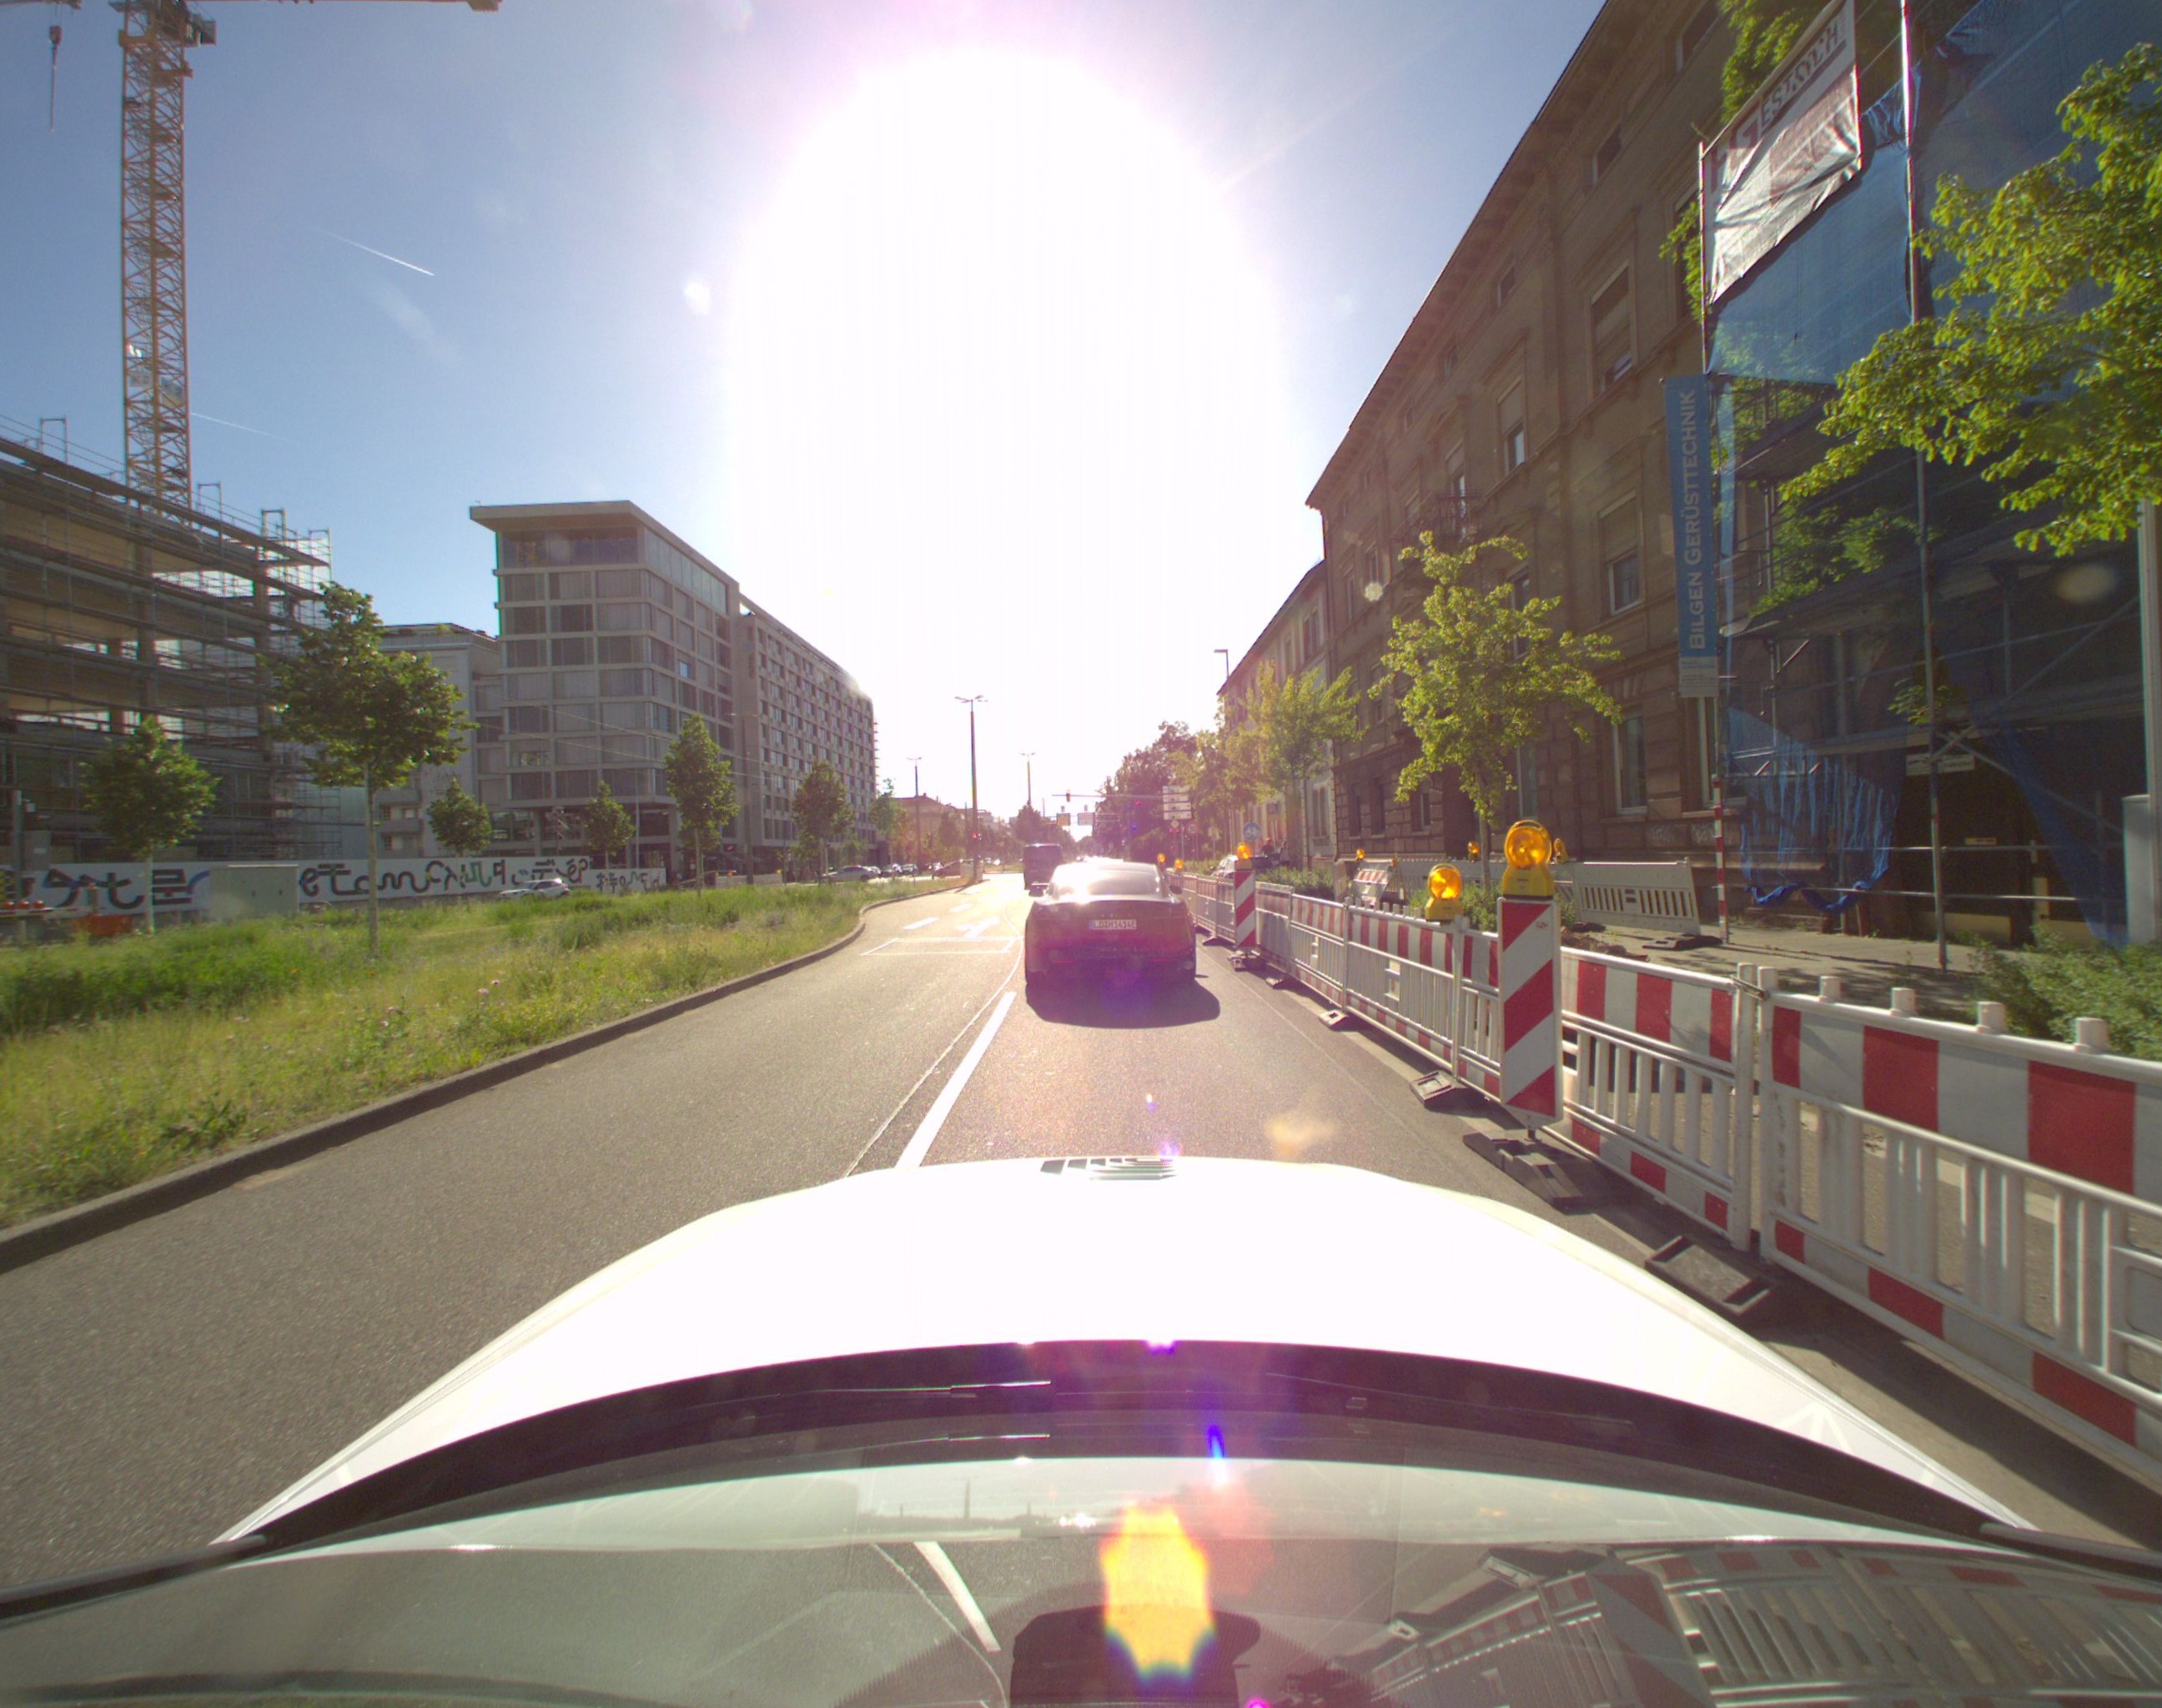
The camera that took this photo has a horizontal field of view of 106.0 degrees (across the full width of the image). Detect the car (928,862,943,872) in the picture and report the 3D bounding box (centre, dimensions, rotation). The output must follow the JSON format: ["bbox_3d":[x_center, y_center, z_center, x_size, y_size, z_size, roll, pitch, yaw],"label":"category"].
[{"bbox_3d":[-24.432,2.200,136.909,1.784,1.651,4.001,-2,0,1],"label":"car"}]

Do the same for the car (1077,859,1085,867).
[{"bbox_3d":[0.051,2.105,196.881,1.786,1.873,3.848,-1,-1,-1],"label":"car"}]

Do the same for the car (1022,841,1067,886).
[{"bbox_3d":[-1.907,0.489,43.711,2.211,2.267,4.483,0,0,0],"label":"car"}]

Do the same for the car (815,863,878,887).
[{"bbox_3d":[-19.176,1.719,66.615,4.543,1.792,1.980,-2,0,-32],"label":"car"}]

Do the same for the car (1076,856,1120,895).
[{"bbox_3d":[0.735,0.849,34.405,1.743,1.527,4.006,-1,0,2],"label":"car"}]

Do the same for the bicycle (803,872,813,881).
[{"bbox_3d":[-32.119,2.661,95.843,0.584,1.100,1.625,0,-1,5],"label":"bicycle"}]

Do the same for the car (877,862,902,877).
[{"bbox_3d":[-22.477,1.788,95.641,1.784,1.651,4.001,-2,0,1],"label":"car"}]

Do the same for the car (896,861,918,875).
[{"bbox_3d":[-22.120,1.779,103.810,1.784,1.651,4.001,-2,0,1],"label":"car"}]

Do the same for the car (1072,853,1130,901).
[{"bbox_3d":[0.638,0.698,27.231,1.742,1.427,4.838,-1,0,1],"label":"car"}]

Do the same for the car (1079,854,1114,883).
[{"bbox_3d":[0.775,0.764,43.447,1.786,1.428,3.848,-1,-1,-1],"label":"car"}]

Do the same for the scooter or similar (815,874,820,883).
[{"bbox_3d":[-29.186,2.672,90.132,0.285,0.947,0.765,-2,-1,-6],"label":"scooter or similar"}]

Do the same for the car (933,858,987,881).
[{"bbox_3d":[-10.380,1.331,69.811,4.512,1.792,1.993,-2,0,-10],"label":"car"}]

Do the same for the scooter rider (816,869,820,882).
[{"bbox_3d":[-29.169,2.350,90.259,0.341,1.453,0.239,-2,-1,1],"label":"scooter rider"}]

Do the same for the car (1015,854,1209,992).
[{"bbox_3d":[0.357,0.730,10.870,2.044,1.444,4.524,0,0,1],"label":"car"}]

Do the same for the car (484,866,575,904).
[{"bbox_3d":[-31.321,1.720,46.376,1.895,1.918,4.001,-2,0,14],"label":"car"}]

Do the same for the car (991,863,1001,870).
[{"bbox_3d":[-20.640,3.038,198.300,1.784,1.651,4.001,-2,0,1],"label":"car"}]

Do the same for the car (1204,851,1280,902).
[{"bbox_3d":[5.397,0.722,27.911,1.642,1.475,4.701,-4,0,1],"label":"car"}]

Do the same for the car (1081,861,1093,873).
[{"bbox_3d":[0.976,2.048,130.810,1.786,1.873,3.848,-1,-1,-1],"label":"car"}]

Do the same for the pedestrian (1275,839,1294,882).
[{"bbox_3d":[8.814,0.293,35.284,0.561,1.821,0.587,-5,0,0],"label":"pedestrian"}]

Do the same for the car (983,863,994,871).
[{"bbox_3d":[-20.130,2.836,177.281,1.801,1.651,4.001,-2,0,1],"label":"car"}]

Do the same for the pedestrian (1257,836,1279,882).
[{"bbox_3d":[8.086,0.215,35.282,0.656,1.913,0.587,-5,0,0],"label":"pedestrian"}]

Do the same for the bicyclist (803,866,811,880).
[{"bbox_3d":[-32.247,2.228,95.827,0.590,1.580,0.893,0,-1,5],"label":"bicyclist"}]

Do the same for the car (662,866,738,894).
[{"bbox_3d":[-27.460,1.834,58.791,1.974,1.792,4.556,-2,0,34],"label":"car"}]

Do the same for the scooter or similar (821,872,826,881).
[{"bbox_3d":[-28.485,2.446,90.064,0.227,0.947,0.767,-2,-1,2],"label":"scooter or similar"}]
